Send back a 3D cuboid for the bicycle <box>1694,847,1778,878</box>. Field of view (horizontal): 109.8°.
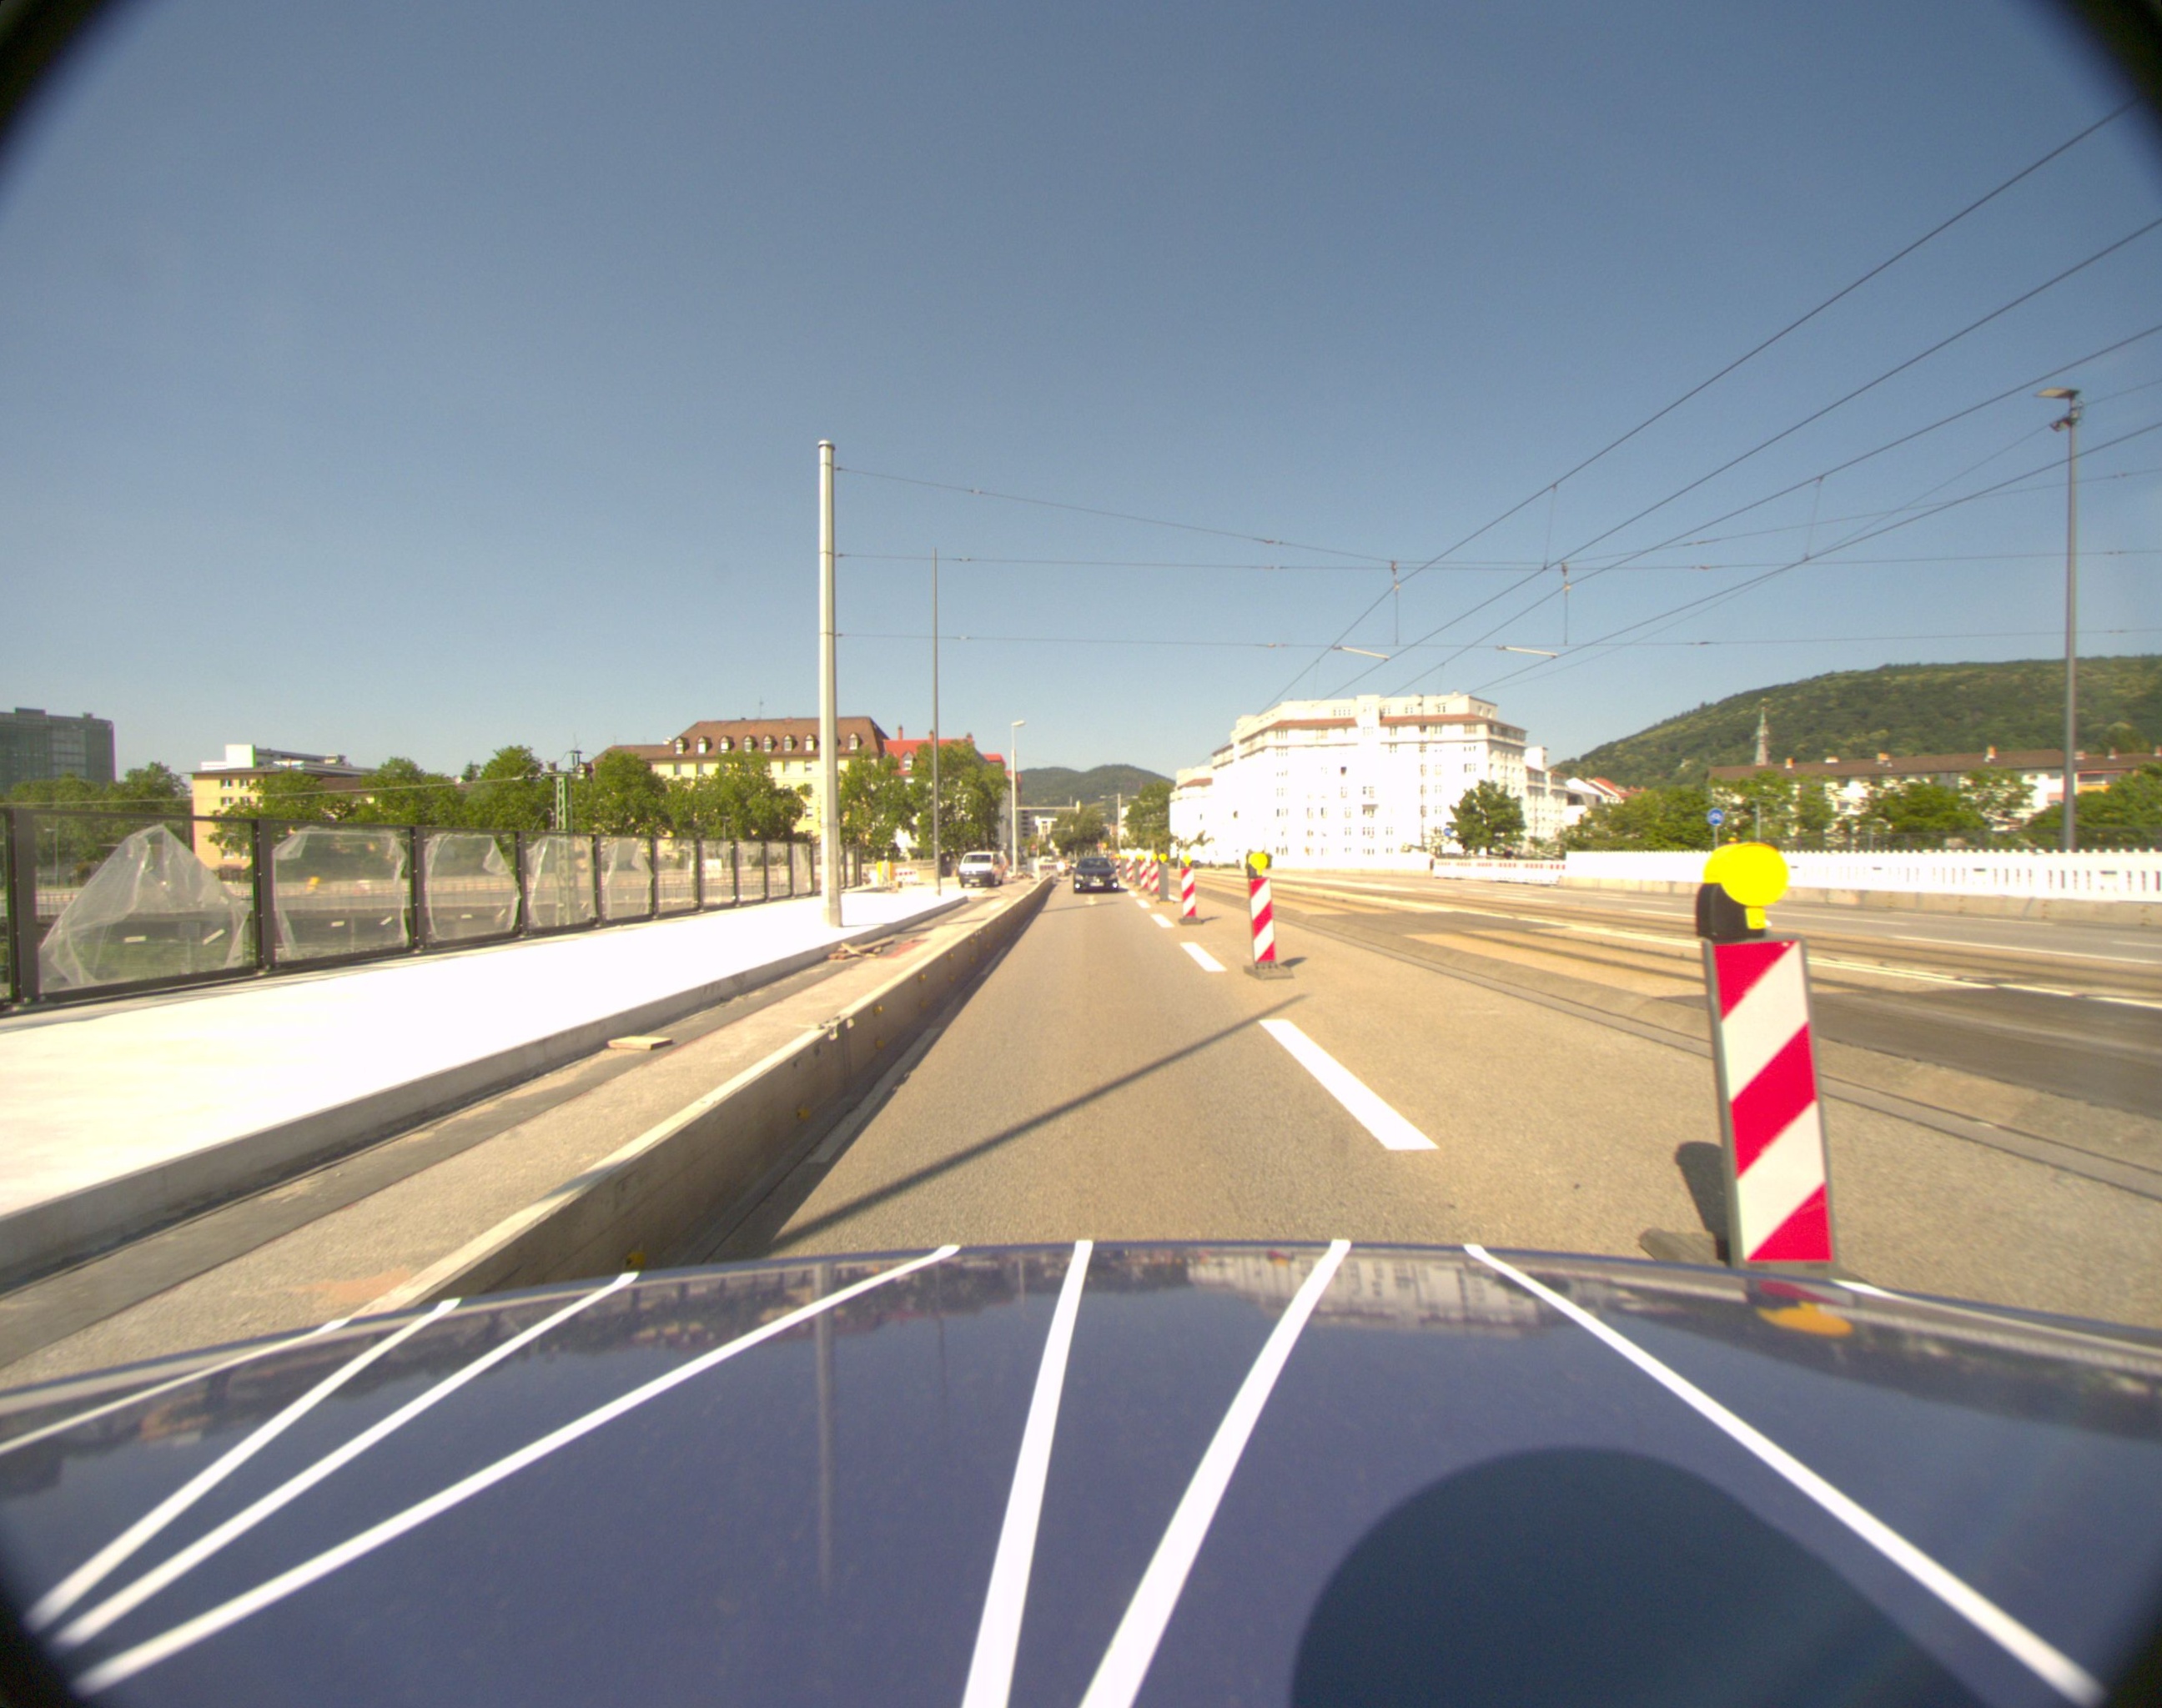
[{"bbox_3d":[27.368,0.317,31.832,0.858,1.188,3.071,-2,1,0],"label":"bicycle"}]

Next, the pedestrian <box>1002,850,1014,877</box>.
[{"bbox_3d":[-5.437,0.709,56.503,0.761,1.973,0.843,1,2,1],"label":"pedestrian"}]

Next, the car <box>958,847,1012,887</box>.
[{"bbox_3d":[-5.374,0.714,43.524,1.938,2.078,6.471,-1,0,3],"label":"car"}]

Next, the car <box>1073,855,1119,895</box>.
[{"bbox_3d":[0.596,0.797,30.777,1.698,1.388,4.362,-2,1,1],"label":"car"}]

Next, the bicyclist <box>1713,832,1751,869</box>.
[{"bbox_3d":[27.337,-0.138,31.912,0.858,1.510,0.817,-2,1,0],"label":"bicyclist"}]
